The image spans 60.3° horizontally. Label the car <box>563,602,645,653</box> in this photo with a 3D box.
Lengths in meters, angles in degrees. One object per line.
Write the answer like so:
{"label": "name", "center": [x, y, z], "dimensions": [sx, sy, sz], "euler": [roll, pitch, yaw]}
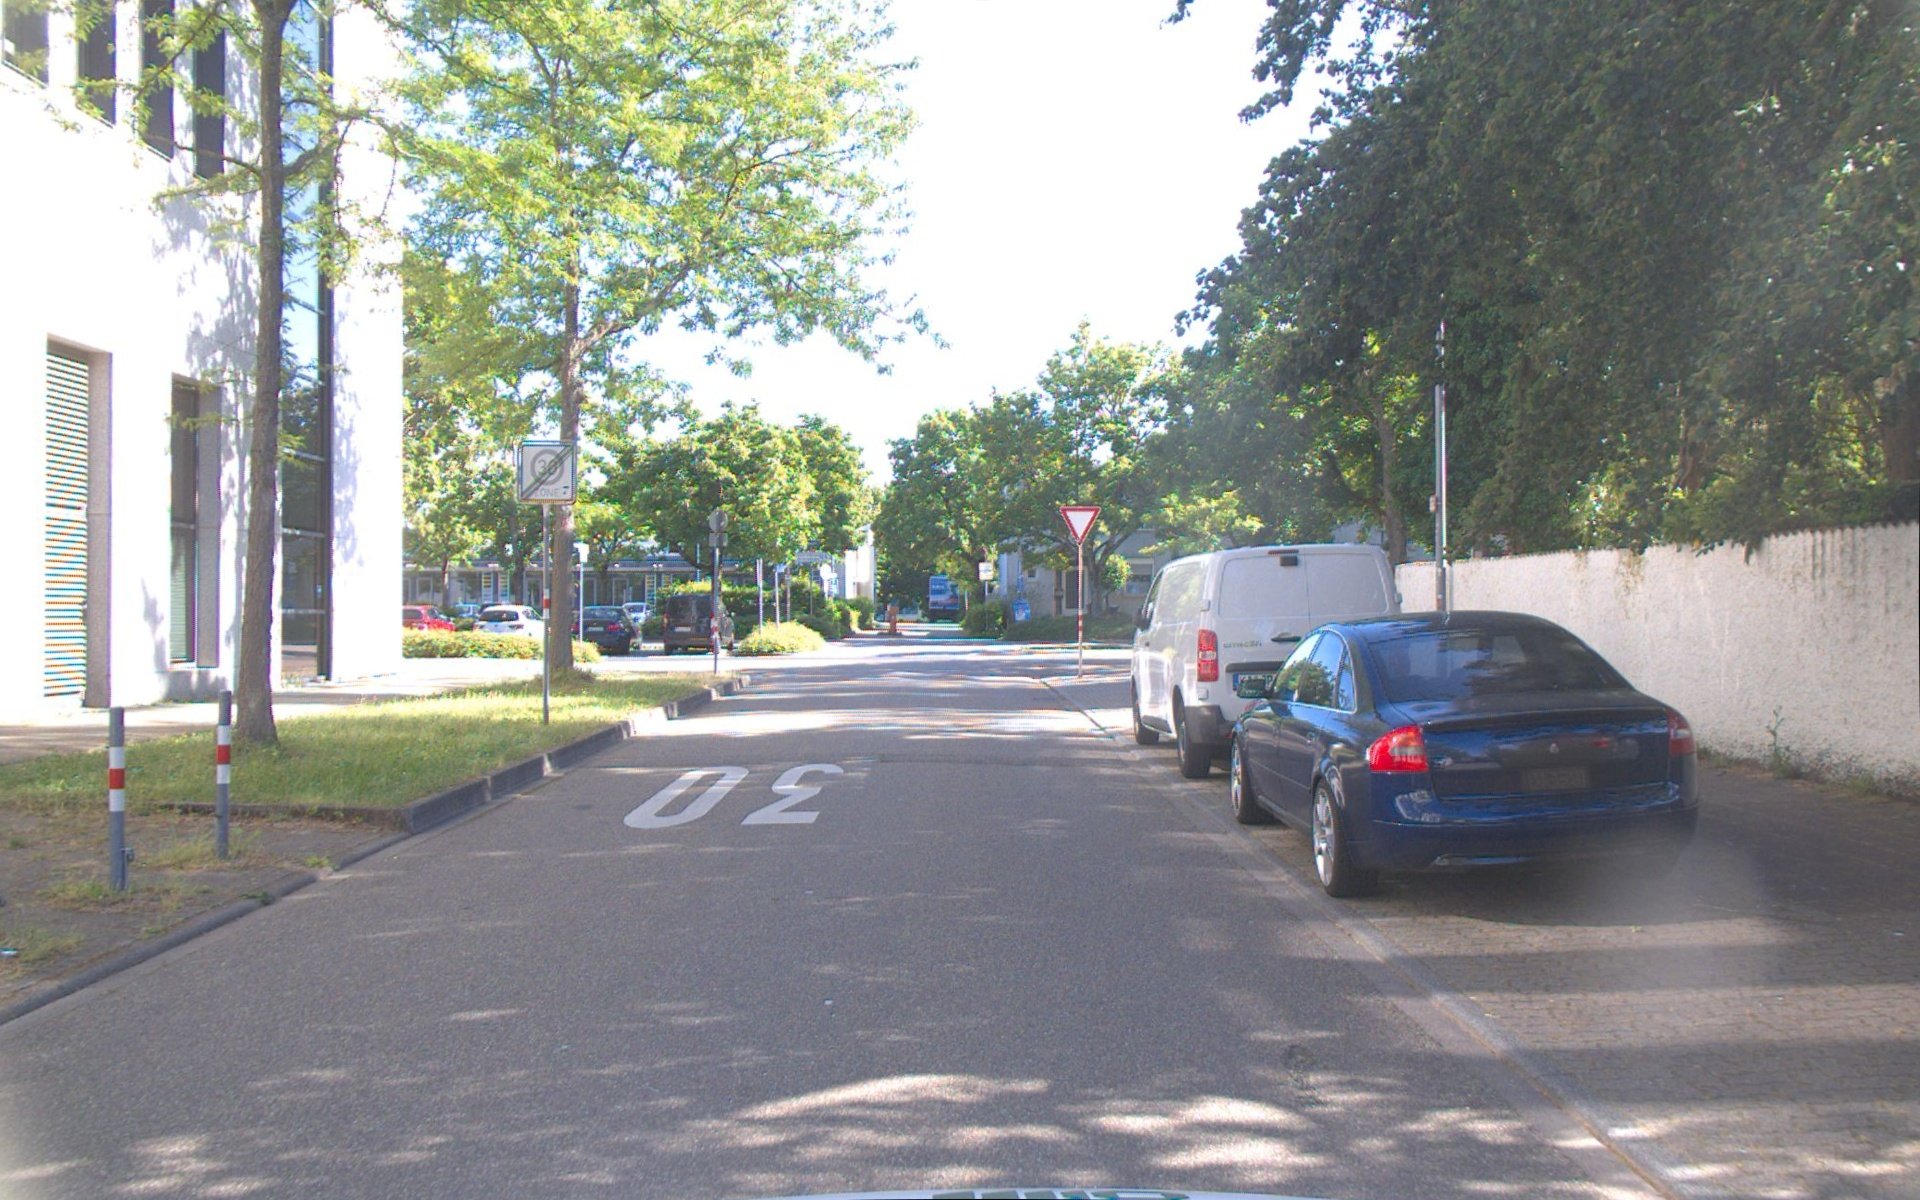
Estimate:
{"label": "car", "center": [-11.018, 0.824, 51.380], "dimensions": [1.786, 1.430, 4.167], "euler": [-1, 1, -2]}

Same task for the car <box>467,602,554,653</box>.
{"label": "car", "center": [-13.961, 0.825, 51.546], "dimensions": [1.766, 1.461, 3.911], "euler": [0, 1, -2]}

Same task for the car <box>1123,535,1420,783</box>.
{"label": "car", "center": [2.743, 0.468, 15.794], "dimensions": [1.859, 1.947, 5.148], "euler": [-1, 0, 0]}

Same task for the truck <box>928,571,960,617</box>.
{"label": "truck", "center": [-1.374, -0.502, 146.382], "dimensions": [2.703, 3.937, 9.329], "euler": [1, 0, 0]}

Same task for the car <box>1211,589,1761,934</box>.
{"label": "car", "center": [2.720, 0.735, 9.671], "dimensions": [1.788, 1.448, 4.283], "euler": [-4, 0, 0]}

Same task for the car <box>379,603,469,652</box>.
{"label": "car", "center": [-16.638, 0.830, 51.469], "dimensions": [1.634, 1.451, 3.910], "euler": [1, 0, -2]}

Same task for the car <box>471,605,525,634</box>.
{"label": "car", "center": [-25.352, 1.068, 90.907], "dimensions": [1.798, 1.524, 3.908], "euler": [0, 0, 1]}

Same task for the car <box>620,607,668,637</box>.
{"label": "car", "center": [-17.293, 1.187, 90.729], "dimensions": [1.798, 1.524, 3.908], "euler": [0, 0, 1]}

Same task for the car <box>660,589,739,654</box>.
{"label": "car", "center": [-8.087, 0.635, 51.681], "dimensions": [1.835, 1.879, 4.168], "euler": [-1, 1, -1]}

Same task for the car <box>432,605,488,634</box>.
{"label": "car", "center": [-27.428, 1.038, 90.774], "dimensions": [1.798, 1.524, 3.908], "euler": [0, 0, 1]}

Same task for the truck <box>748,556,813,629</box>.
{"label": "truck", "center": [-10.000, -0.416, 92.772], "dimensions": [2.744, 3.873, 6.925], "euler": [1, 0, 1]}
